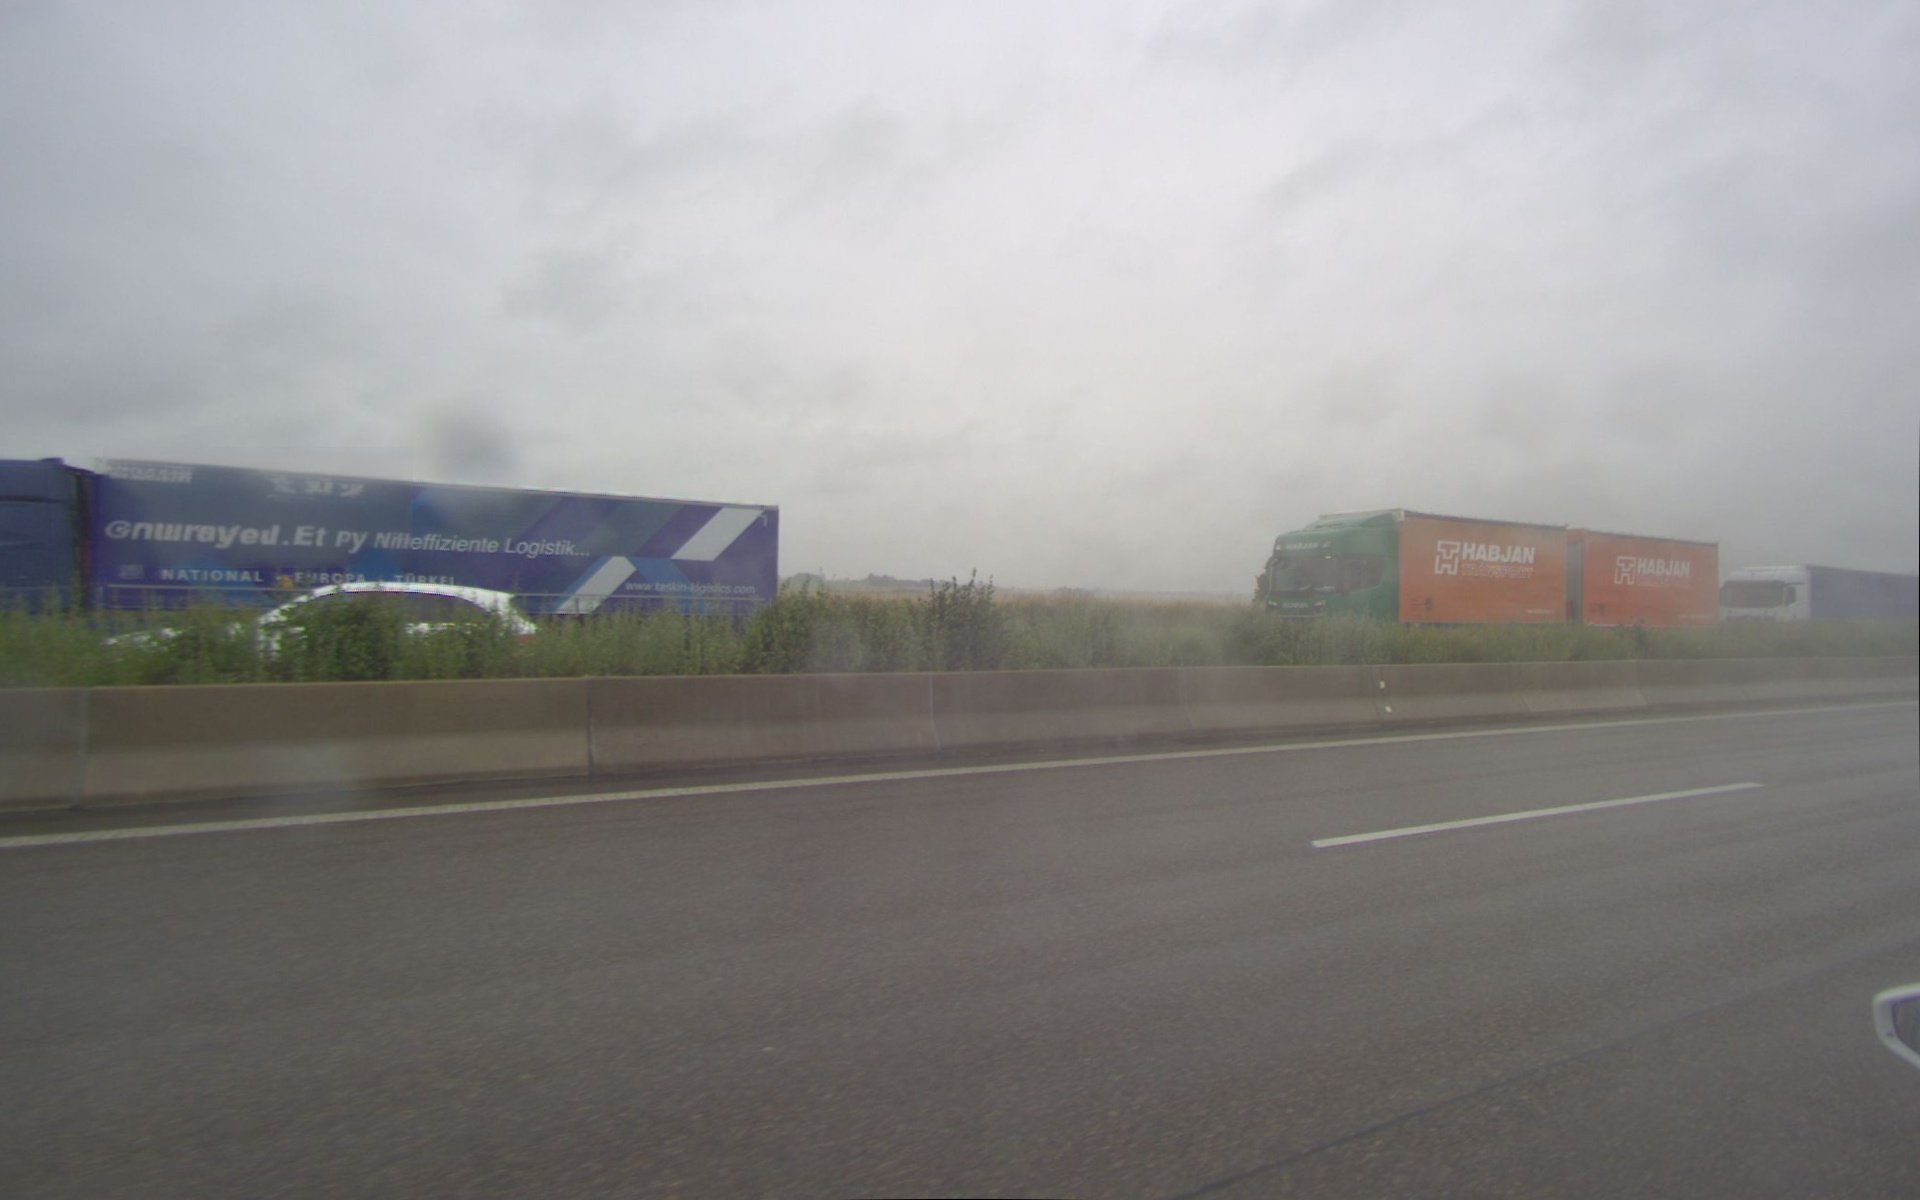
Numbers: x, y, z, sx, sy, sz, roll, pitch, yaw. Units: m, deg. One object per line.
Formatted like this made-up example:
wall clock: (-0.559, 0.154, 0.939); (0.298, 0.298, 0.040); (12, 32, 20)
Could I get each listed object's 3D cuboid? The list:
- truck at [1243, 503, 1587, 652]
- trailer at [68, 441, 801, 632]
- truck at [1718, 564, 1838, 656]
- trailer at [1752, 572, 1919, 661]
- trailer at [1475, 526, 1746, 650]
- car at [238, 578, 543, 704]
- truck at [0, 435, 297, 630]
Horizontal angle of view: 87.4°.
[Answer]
truck: (12.569, -0.419, 27.366); (10.006, 3.487, 3.252); (1, -1, -29)
trailer: (-10.900, -1.042, 23.195); (14.060, 3.463, 3.101); (1, -1, -29)
truck: (37.506, 0.484, 46.024); (5.543, 3.978, 2.474); (1, -1, -30)
trailer: (43.704, 0.900, 49.593); (13.331, 3.991, 2.425); (1, -1, -30)
trailer: (20.803, -0.232, 31.958); (9.326, 3.502, 3.244); (1, -1, -29)
car: (-6.847, 0.486, 12.278); (3.055, 1.369, 1.389); (2, 0, -31)
truck: (-16.730, -1.182, 19.957); (5.616, 3.467, 3.086); (1, -1, -29)
